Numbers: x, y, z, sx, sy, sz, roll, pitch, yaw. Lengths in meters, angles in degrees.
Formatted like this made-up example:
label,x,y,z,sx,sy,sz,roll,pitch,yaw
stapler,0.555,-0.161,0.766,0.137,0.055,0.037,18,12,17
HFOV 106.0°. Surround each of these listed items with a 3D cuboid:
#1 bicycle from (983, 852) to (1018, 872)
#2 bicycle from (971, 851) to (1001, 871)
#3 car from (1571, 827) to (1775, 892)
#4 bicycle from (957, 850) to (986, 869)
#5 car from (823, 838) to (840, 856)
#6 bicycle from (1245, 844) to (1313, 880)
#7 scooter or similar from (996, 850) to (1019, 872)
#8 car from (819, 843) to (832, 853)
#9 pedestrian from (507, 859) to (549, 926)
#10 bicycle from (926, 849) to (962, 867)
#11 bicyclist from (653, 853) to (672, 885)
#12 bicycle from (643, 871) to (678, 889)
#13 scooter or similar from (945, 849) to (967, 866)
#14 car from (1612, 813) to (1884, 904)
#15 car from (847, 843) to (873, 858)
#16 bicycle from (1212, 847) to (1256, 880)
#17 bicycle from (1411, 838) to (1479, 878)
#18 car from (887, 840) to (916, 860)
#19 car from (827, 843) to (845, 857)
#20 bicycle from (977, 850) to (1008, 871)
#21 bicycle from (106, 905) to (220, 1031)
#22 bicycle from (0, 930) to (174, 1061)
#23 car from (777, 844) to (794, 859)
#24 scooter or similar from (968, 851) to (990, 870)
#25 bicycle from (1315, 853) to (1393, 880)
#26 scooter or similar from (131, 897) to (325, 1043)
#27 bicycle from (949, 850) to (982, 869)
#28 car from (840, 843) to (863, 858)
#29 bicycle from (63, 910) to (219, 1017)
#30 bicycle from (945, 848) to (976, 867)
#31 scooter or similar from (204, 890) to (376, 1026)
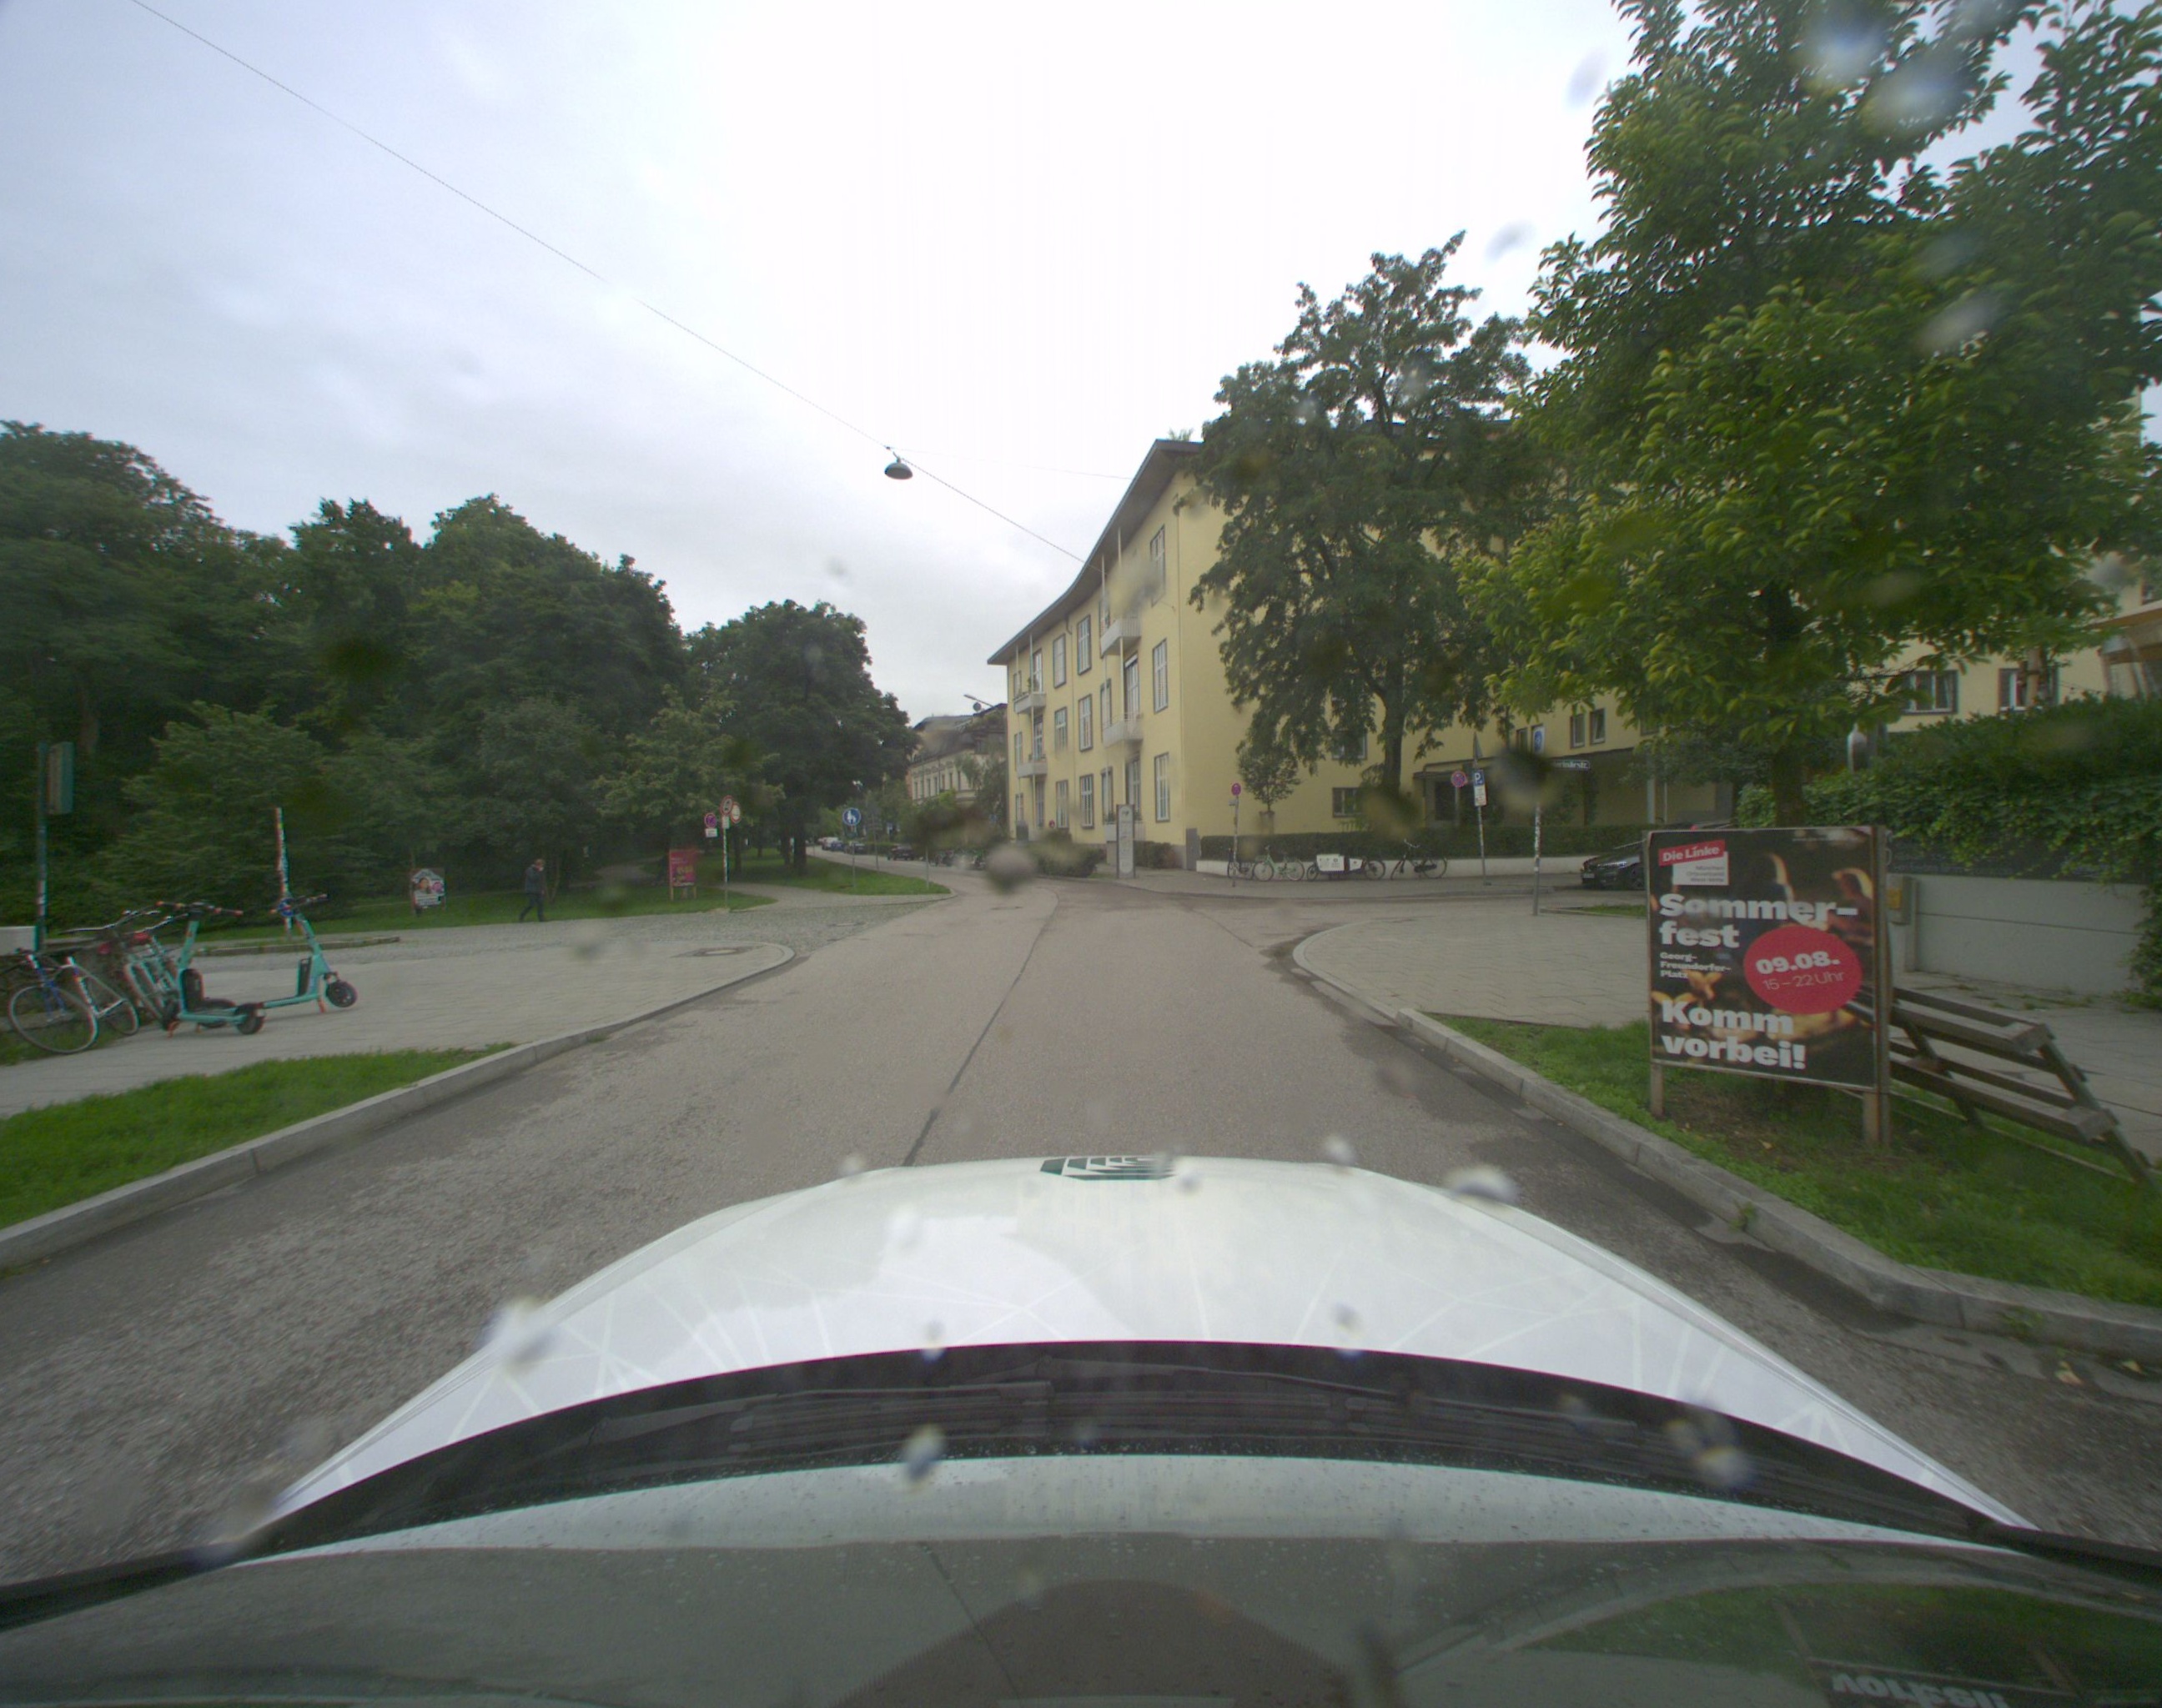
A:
label,x,y,z,sx,sy,sz,roll,pitch,yaw
bicycle,-4.431,0.452,44.946,1.832,1.005,0.573,-3,1,-25
bicycle,-5.573,0.389,47.778,0.570,1.085,1.946,-2,1,34
car,15.012,0.137,20.815,3.959,1.435,1.607,-2,0,3
bicycle,-6.499,0.322,48.533,0.631,1.085,1.998,-2,1,27
car,-37.339,-1.086,121.770,1.884,2.567,4.894,-2,1,-23
bicycle,6.337,0.243,26.227,0.613,1.117,2.192,-2,1,-39
scooter or similar,-3.937,0.374,43.622,0.490,1.109,1.419,-2,1,30
car,-41.565,-0.998,132.338,1.651,1.652,4.252,-2,1,-22
pedestrian,-14.988,1.036,22.088,0.731,1.752,0.655,-2,1,-19
bicycle,-9.554,0.269,56.964,2.345,1.085,0.686,-3,1,-28
bicyclist,-19.574,0.691,38.087,0.633,1.460,0.638,-2,1,-37
bicycle,-19.634,1.212,38.017,1.367,0.776,0.435,-2,1,-37
scooter or similar,-8.479,0.263,55.220,1.403,1.088,0.596,-2,1,-5
car,14.521,0.066,17.924,4.352,1.694,2.002,-3,1,-1
car,-25.607,-0.441,94.229,2.186,1.657,4.471,-2,1,-23
bicycle,5.334,0.306,28.529,0.609,1.072,2.207,-2,1,-14
bicycle,10.876,0.124,24.363,1.725,1.149,0.611,-1,1,6
car,-15.646,-0.353,70.861,1.870,1.633,4.255,-2,1,-20
car,-33.960,-0.522,112.978,1.884,1.815,3.970,-2,1,-23
bicycle,-5.117,0.369,47.189,0.570,1.085,1.946,-2,1,34
bicycle,-9.796,1.162,8.739,0.658,1.134,1.483,-2,1,-44
bicycle,-8.776,1.203,7.224,0.472,0.923,1.195,-2,1,-23
car,-40.283,-0.334,110.897,2.002,1.837,3.970,-2,1,-22
scooter or similar,-6.016,0.369,48.162,0.490,1.088,1.419,-2,1,30
bicycle,8.297,0.396,24.782,2.190,0.779,0.613,-1,1,23
scooter or similar,-8.015,1.074,7.680,1.172,1.219,0.603,-4,0,5
bicycle,-6.963,0.325,49.291,0.689,1.085,2.353,-2,1,27
car,-28.174,-0.436,99.822,2.186,1.657,4.471,-2,1,-23
bicycle,-11.210,1.310,9.712,1.717,1.134,0.658,-5,-1,22
bicycle,-7.540,0.230,51.098,0.755,1.085,2.154,-2,1,27
scooter or similar,-8.196,1.039,8.470,0.441,1.219,1.189,-4,0,40
